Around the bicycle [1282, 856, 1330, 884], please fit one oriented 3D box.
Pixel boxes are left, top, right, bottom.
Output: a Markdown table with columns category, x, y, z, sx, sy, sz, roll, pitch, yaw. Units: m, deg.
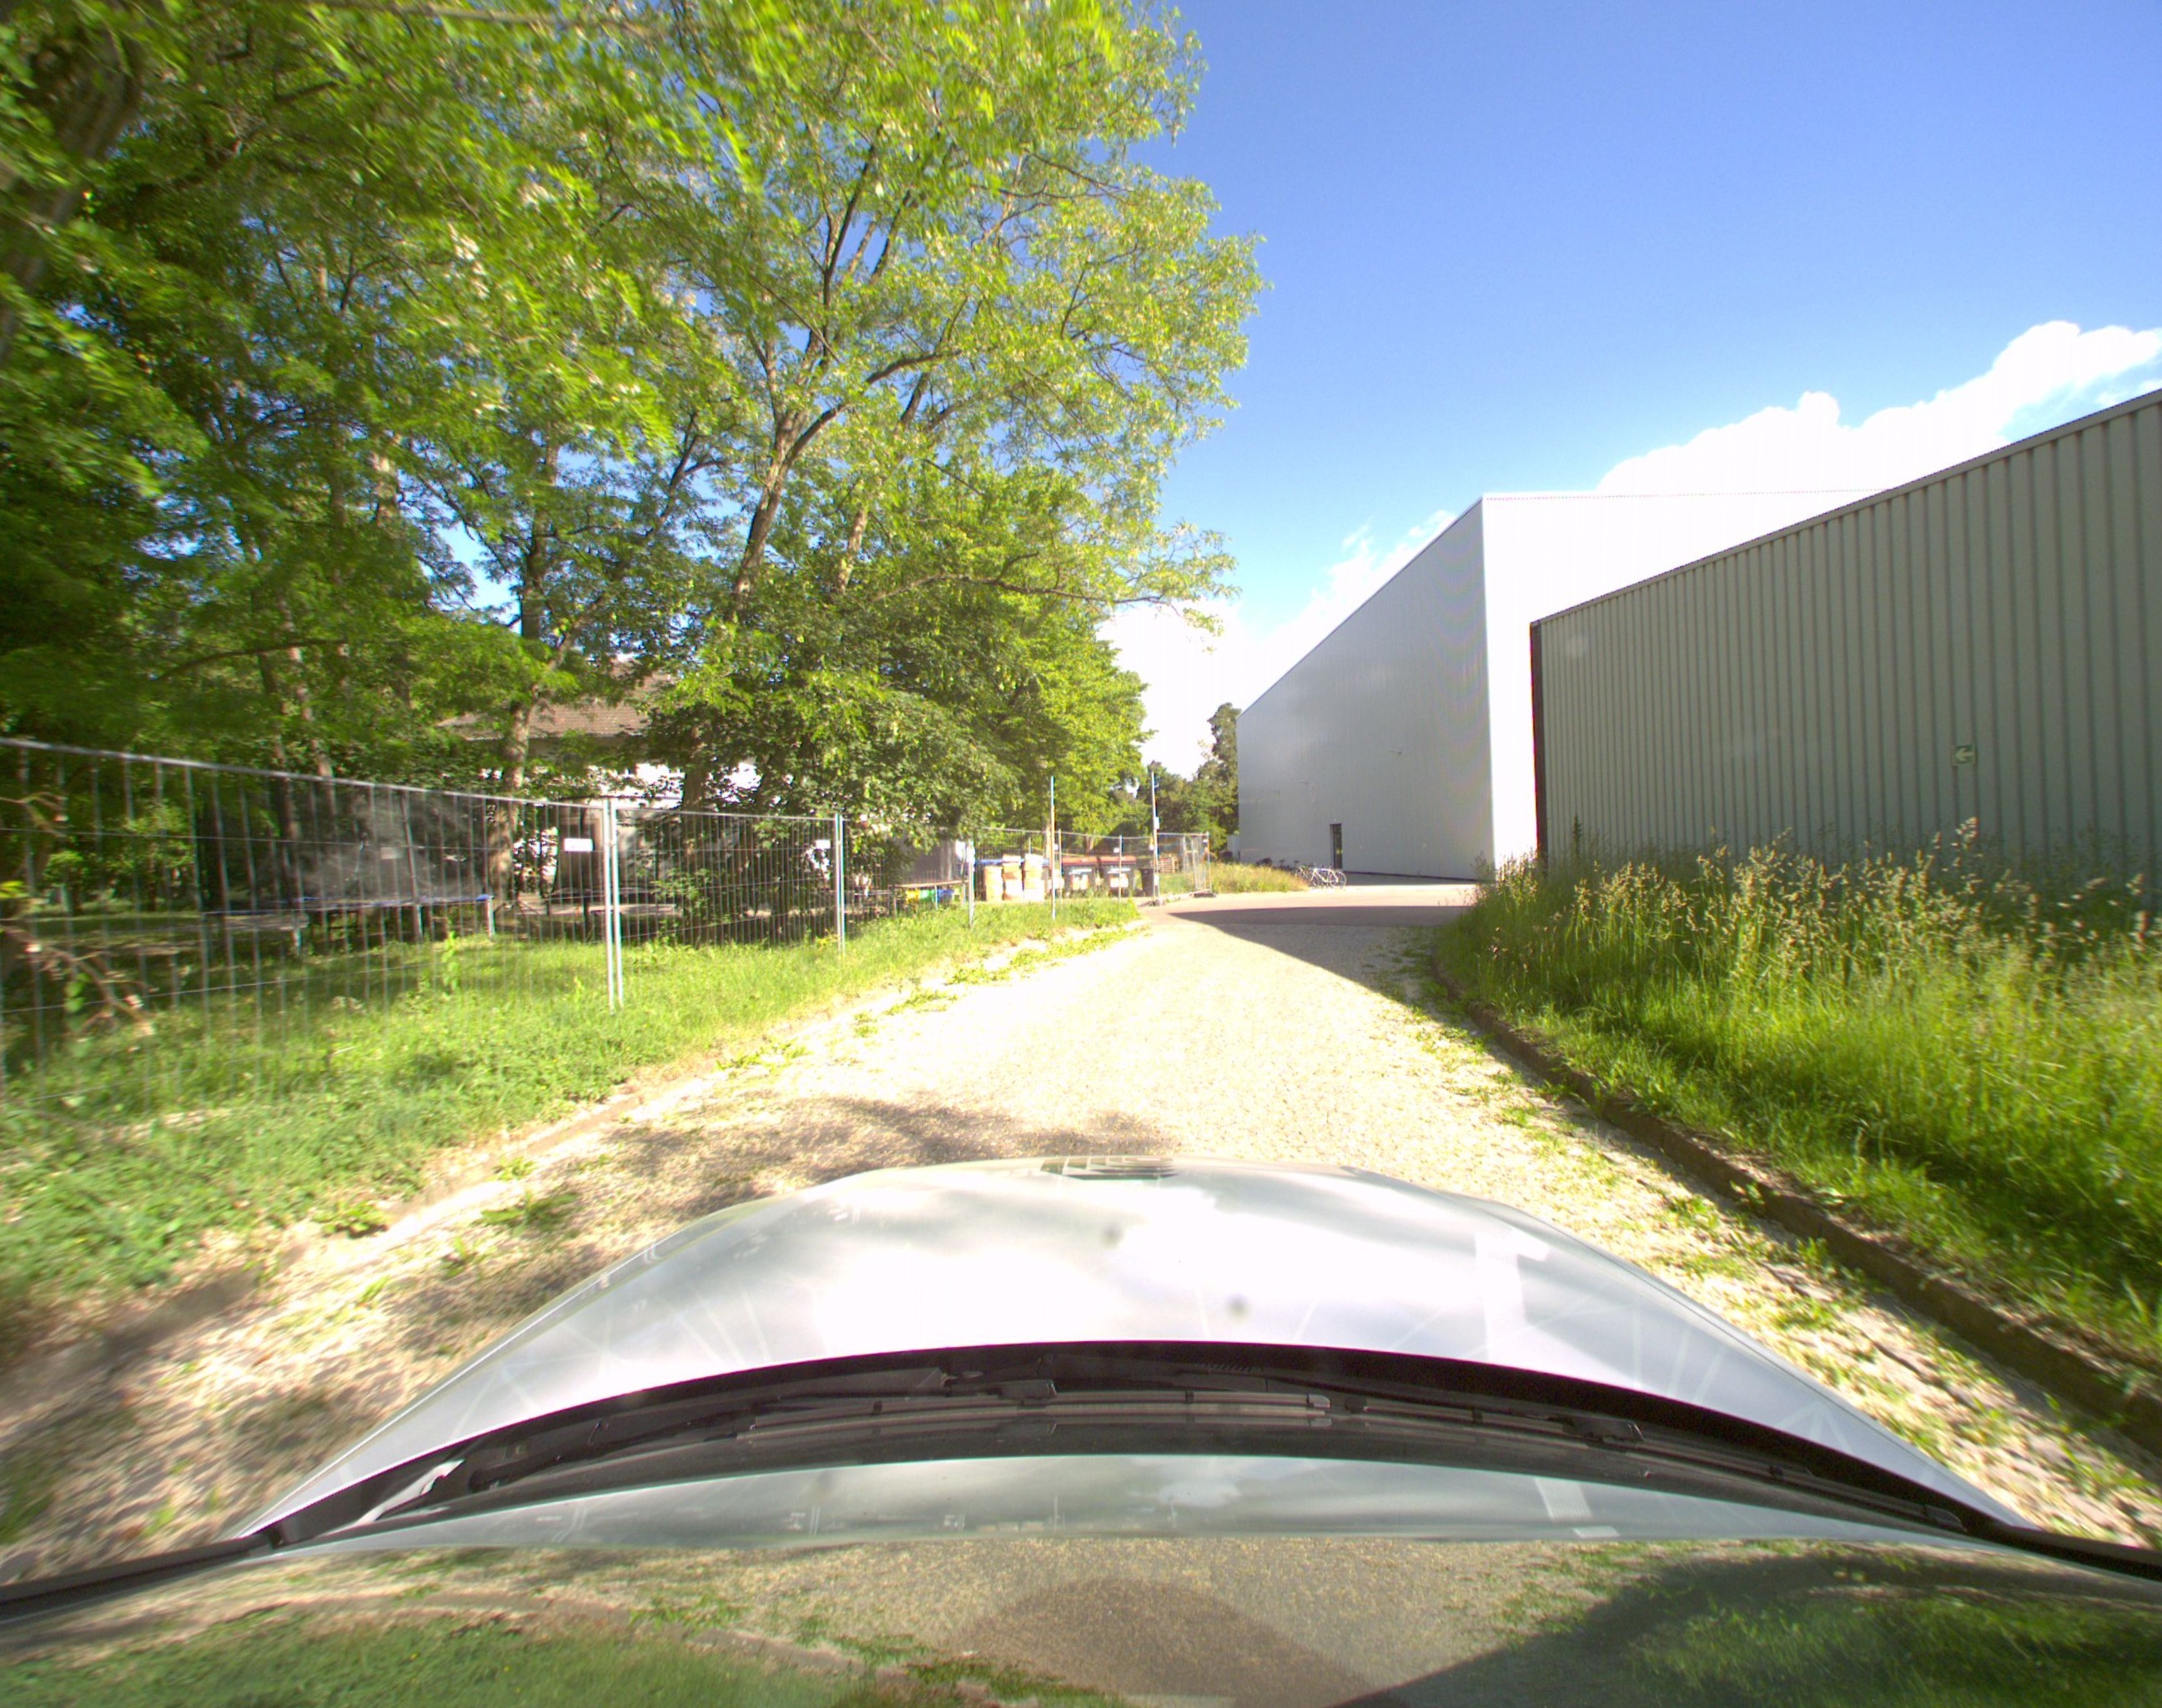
| category | x | y | z | sx | sy | sz | roll | pitch | yaw |
| --- | --- | --- | --- | --- | --- | --- | --- | --- | --- |
| bicycle | 9.364 | 0.651 | 33.895 | 1.878 | 1.082 | 0.433 | -2 | -1 | -2 |

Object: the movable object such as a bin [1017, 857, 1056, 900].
| category | x | y | z | sx | sy | sz | roll | pitch | yaw |
| --- | --- | --- | --- | --- | --- | --- | --- | --- | --- |
| movable object such as a bin | -1.545 | 0.838 | 28.560 | 1.284 | 1.426 | 1.031 | -2 | -1 | -3 |

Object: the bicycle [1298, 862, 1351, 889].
| category | x | y | z | sx | sy | sz | roll | pitch | yaw |
| --- | --- | --- | --- | --- | --- | --- | --- | --- | --- |
| bicycle | 9.406 | 0.829 | 31.450 | 1.878 | 0.978 | 0.433 | -2 | -1 | -2 |

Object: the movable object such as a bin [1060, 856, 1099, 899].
| category | x | y | z | sx | sy | sz | roll | pitch | yaw |
| --- | --- | --- | --- | --- | --- | --- | --- | --- | --- |
| movable object such as a bin | -0.058 | 0.805 | 28.588 | 1.284 | 1.426 | 1.031 | -2 | -1 | -3 |

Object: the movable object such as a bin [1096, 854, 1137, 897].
| category | x | y | z | sx | sy | sz | roll | pitch | yaw |
| --- | --- | --- | --- | --- | --- | --- | --- | --- | --- |
| movable object such as a bin | 1.244 | 0.746 | 28.679 | 1.285 | 1.426 | 1.031 | -2 | -1 | -4 |

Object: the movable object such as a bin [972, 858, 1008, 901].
| category | x | y | z | sx | sy | sz | roll | pitch | yaw |
| --- | --- | --- | --- | --- | --- | --- | --- | --- | --- |
| movable object such as a bin | -3.171 | 0.874 | 28.535 | 1.080 | 1.438 | 1.056 | -2 | -1 | 1 |

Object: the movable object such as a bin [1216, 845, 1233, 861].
| category | x | y | z | sx | sy | sz | roll | pitch | yaw |
| --- | --- | --- | --- | --- | --- | --- | --- | --- | --- |
| movable object such as a bin | 15.558 | -0.102 | 88.135 | 1.358 | 1.656 | 2.843 | -2 | 0 | 2 |

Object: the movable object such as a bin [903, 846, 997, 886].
| category | x | y | z | sx | sy | sz | roll | pitch | yaw |
| --- | --- | --- | --- | --- | --- | --- | --- | --- | --- |
| movable object such as a bin | -7.213 | 0.657 | 45.167 | 4.860 | 1.970 | 1.930 | -2 | -1 | -3 |

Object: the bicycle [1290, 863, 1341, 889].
| category | x | y | z | sx | sy | sz | roll | pitch | yaw |
| --- | --- | --- | --- | --- | --- | --- | --- | --- | --- |
| bicycle | 9.383 | 0.876 | 32.613 | 1.878 | 0.978 | 0.433 | -2 | -1 | -2 |

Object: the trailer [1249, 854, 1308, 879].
| category | x | y | z | sx | sy | sz | roll | pitch | yaw |
| --- | --- | --- | --- | --- | --- | --- | --- | --- | --- |
| trailer | 10.207 | 0.645 | 42.198 | 2.703 | 1.200 | 1.245 | -2 | -1 | -2 |

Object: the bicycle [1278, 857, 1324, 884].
| category | x | y | z | sx | sy | sz | roll | pitch | yaw |
| --- | --- | --- | --- | --- | --- | --- | --- | --- | --- |
| bicycle | 9.856 | 0.732 | 36.518 | 1.878 | 1.126 | 0.433 | -2 | -1 | -2 |

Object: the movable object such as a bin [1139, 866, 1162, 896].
| category | x | y | z | sx | sy | sz | roll | pitch | yaw |
| --- | --- | --- | --- | --- | --- | --- | --- | --- | --- |
| movable object such as a bin | 2.437 | 0.942 | 28.509 | 0.636 | 1.007 | 0.607 | -2 | -1 | 15 |
